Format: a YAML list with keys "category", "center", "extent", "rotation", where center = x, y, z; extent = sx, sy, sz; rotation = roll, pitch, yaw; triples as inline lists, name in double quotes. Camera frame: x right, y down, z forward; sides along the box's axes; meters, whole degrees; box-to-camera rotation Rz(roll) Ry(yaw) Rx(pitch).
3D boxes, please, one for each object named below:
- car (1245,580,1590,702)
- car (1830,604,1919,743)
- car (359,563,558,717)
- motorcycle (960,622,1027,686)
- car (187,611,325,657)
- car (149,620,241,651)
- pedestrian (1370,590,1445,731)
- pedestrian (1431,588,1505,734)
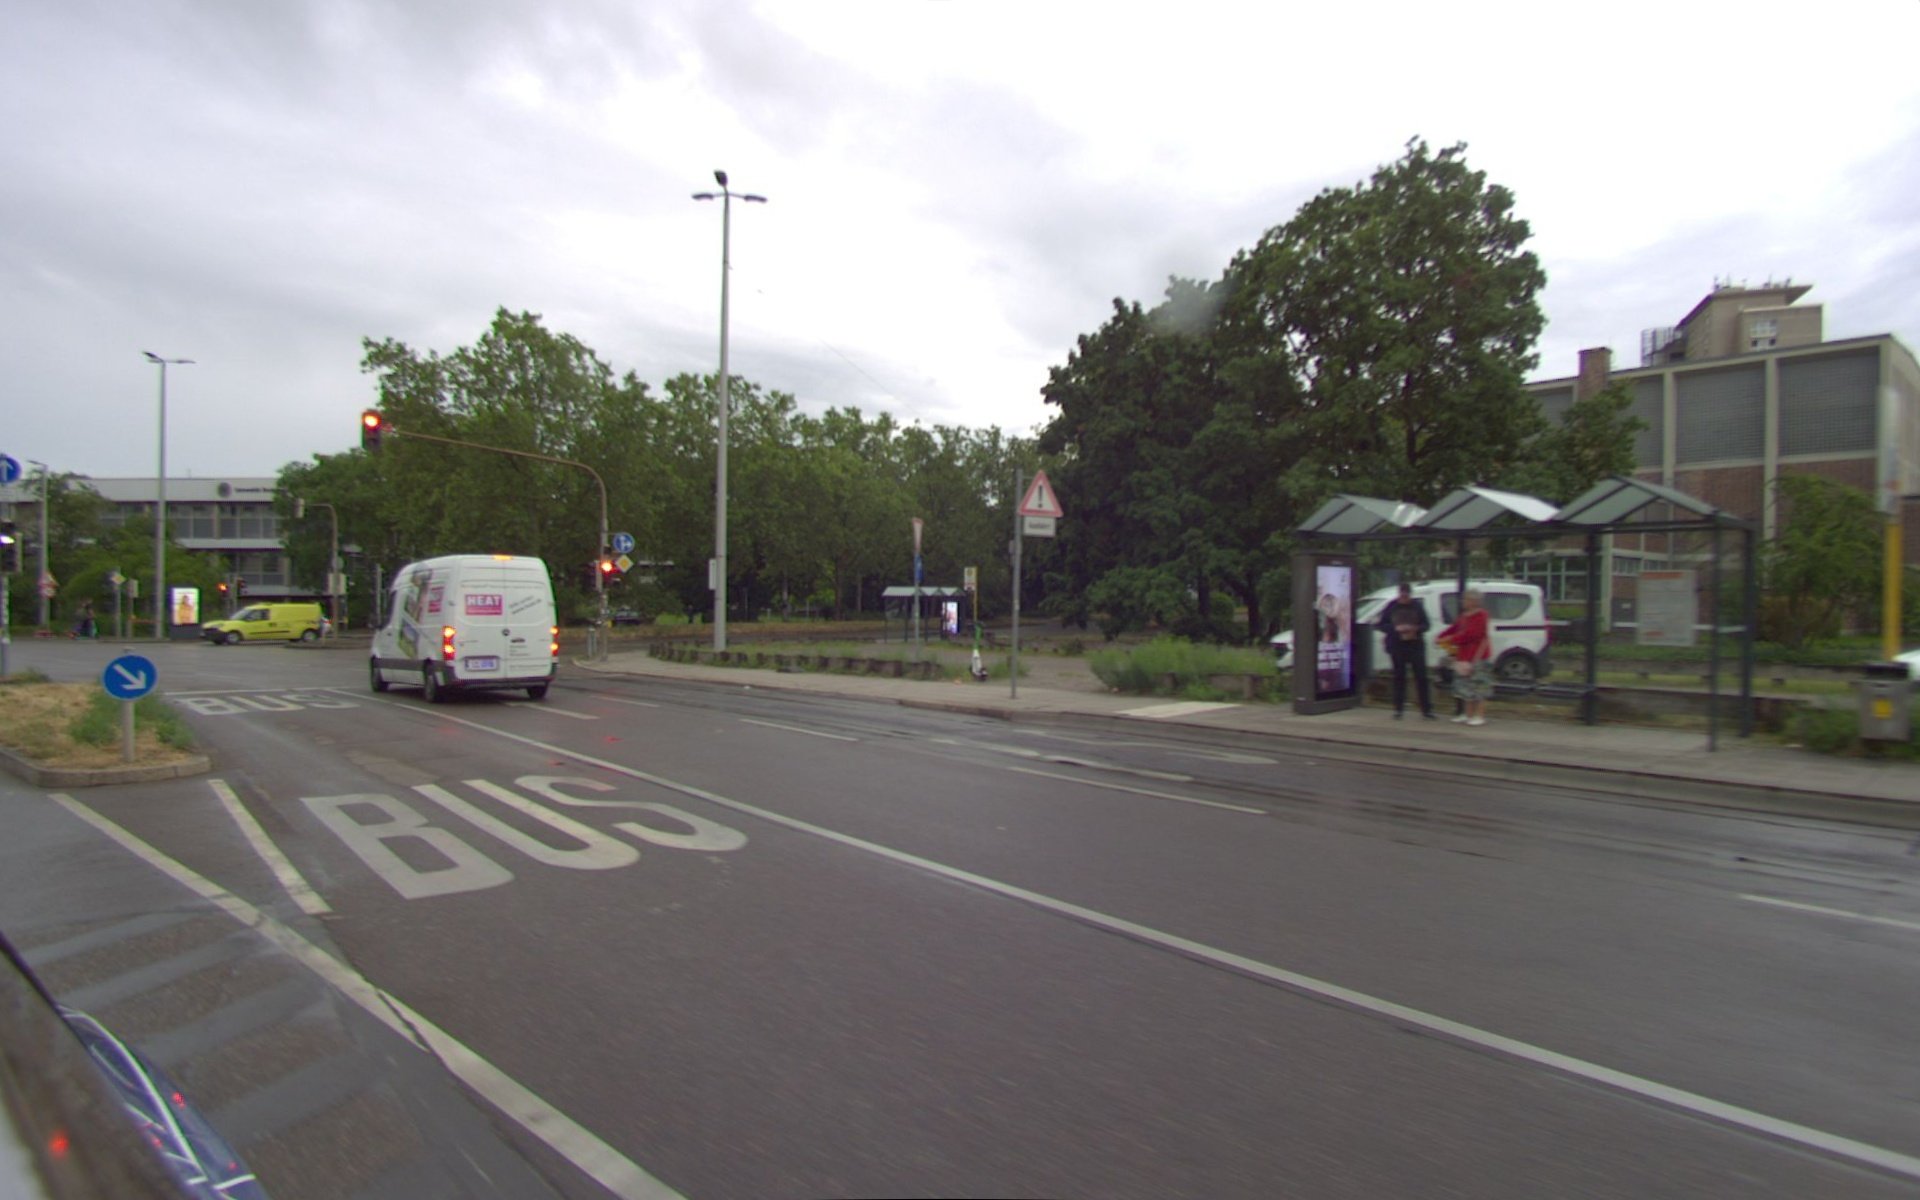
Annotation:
- category: "car"
  center: [7.318, 0.628, 16.591]
  extent: [4.659, 1.768, 2.015]
  rotation: [-1, 0, 1]
- category: "car"
  center: [11.742, 0.698, 10.424]
  extent: [4.309, 1.359, 1.909]
  rotation: [-2, 0, -11]
- category: "car"
  center: [-9.817, 0.745, 19.543]
  extent: [1.959, 2.548, 5.638]
  rotation: [1, -2, -42]
- category: "motorcycle"
  center: [0.673, 1.087, 20.594]
  extent: [1.265, 1.256, 0.510]
  rotation: [-1, 0, 36]
- category: "car"
  center: [-32.309, 1.542, 46.594]
  extent: [2.117, 2.023, 4.768]
  rotation: [-1, -2, 34]
- category: "car"
  center: [-42.893, 1.990, 56.861]
  extent: [3.774, 1.686, 1.935]
  rotation: [0, -2, -25]
- category: "pedestrian"
  center: [5.646, 0.733, 12.760]
  extent: [0.672, 1.708, 0.676]
  rotation: [-1, 0, 42]
- category: "pedestrian"
  center: [6.153, 0.713, 12.261]
  extent: [0.643, 1.708, 0.620]
  rotation: [-1, 0, 42]
